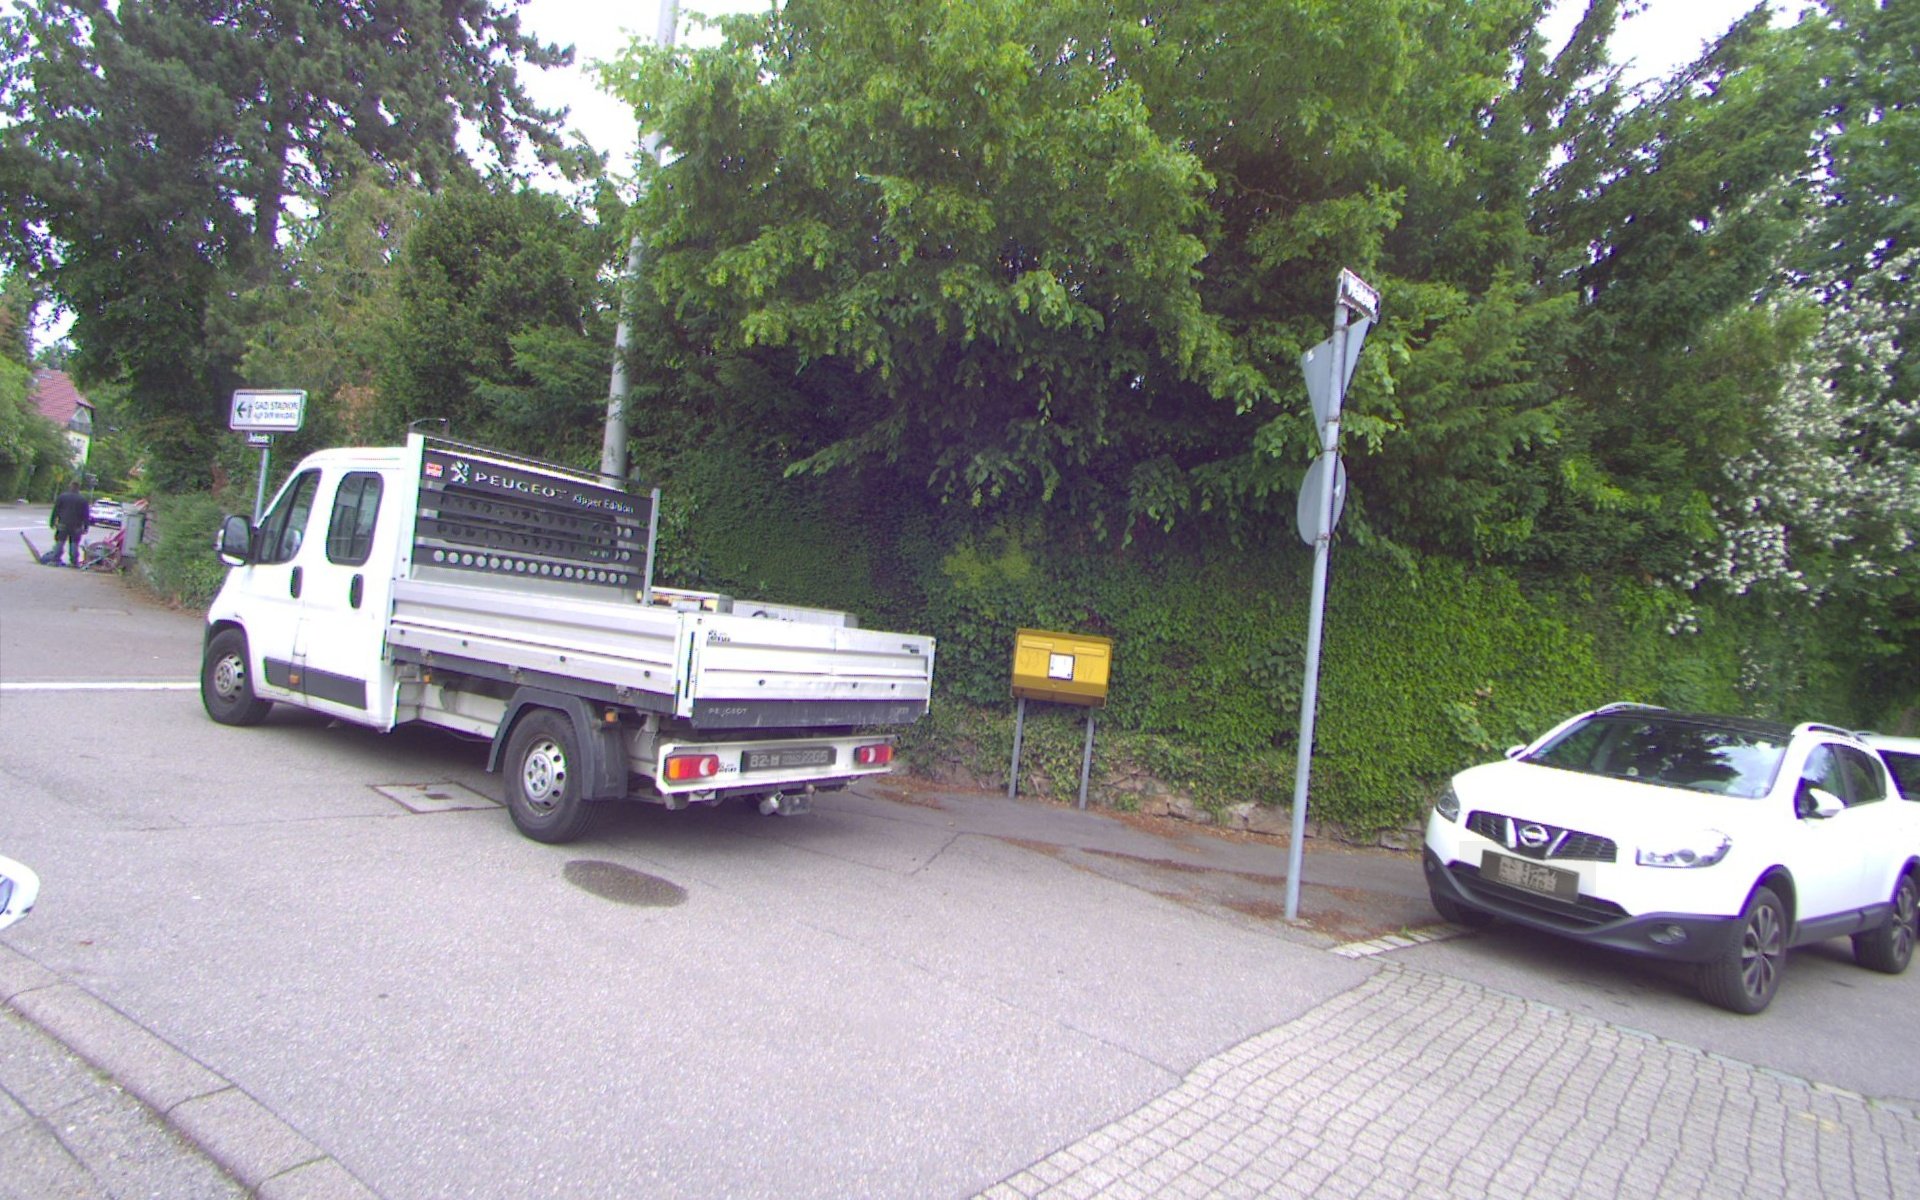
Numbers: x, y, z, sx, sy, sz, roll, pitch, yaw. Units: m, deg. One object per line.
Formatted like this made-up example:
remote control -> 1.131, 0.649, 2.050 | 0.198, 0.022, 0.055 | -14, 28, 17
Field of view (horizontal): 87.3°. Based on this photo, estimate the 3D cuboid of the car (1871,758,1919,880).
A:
car -> 13.834, 3.015, 13.433 | 4.040, 1.440, 1.781 | 8, -2, -38

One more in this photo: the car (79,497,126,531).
car -> -52.695, -5.278, 61.881 | 1.798, 1.775, 4.441 | 7, 0, -37

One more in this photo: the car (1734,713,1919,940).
car -> 9.047, 2.111, 9.476 | 4.041, 1.641, 1.781 | 9, -3, -38

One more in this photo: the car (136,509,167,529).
car -> -70.421, -7.057, 87.683 | 1.683, 1.448, 3.714 | 7, 0, -34

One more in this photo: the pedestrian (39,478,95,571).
pedestrian -> -19.562, -1.646, 22.044 | 0.549, 1.929, 0.597 | 7, -1, 32

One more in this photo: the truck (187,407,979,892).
truck -> -2.932, 0.082, 7.167 | 5.631, 2.270, 2.211 | 6, -2, 34

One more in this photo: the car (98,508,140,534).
car -> -59.869, -5.606, 71.688 | 1.790, 1.545, 4.697 | 7, 0, -36

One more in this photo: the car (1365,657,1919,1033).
car -> 4.768, 1.466, 6.663 | 4.098, 1.641, 1.783 | 9, -2, -34
